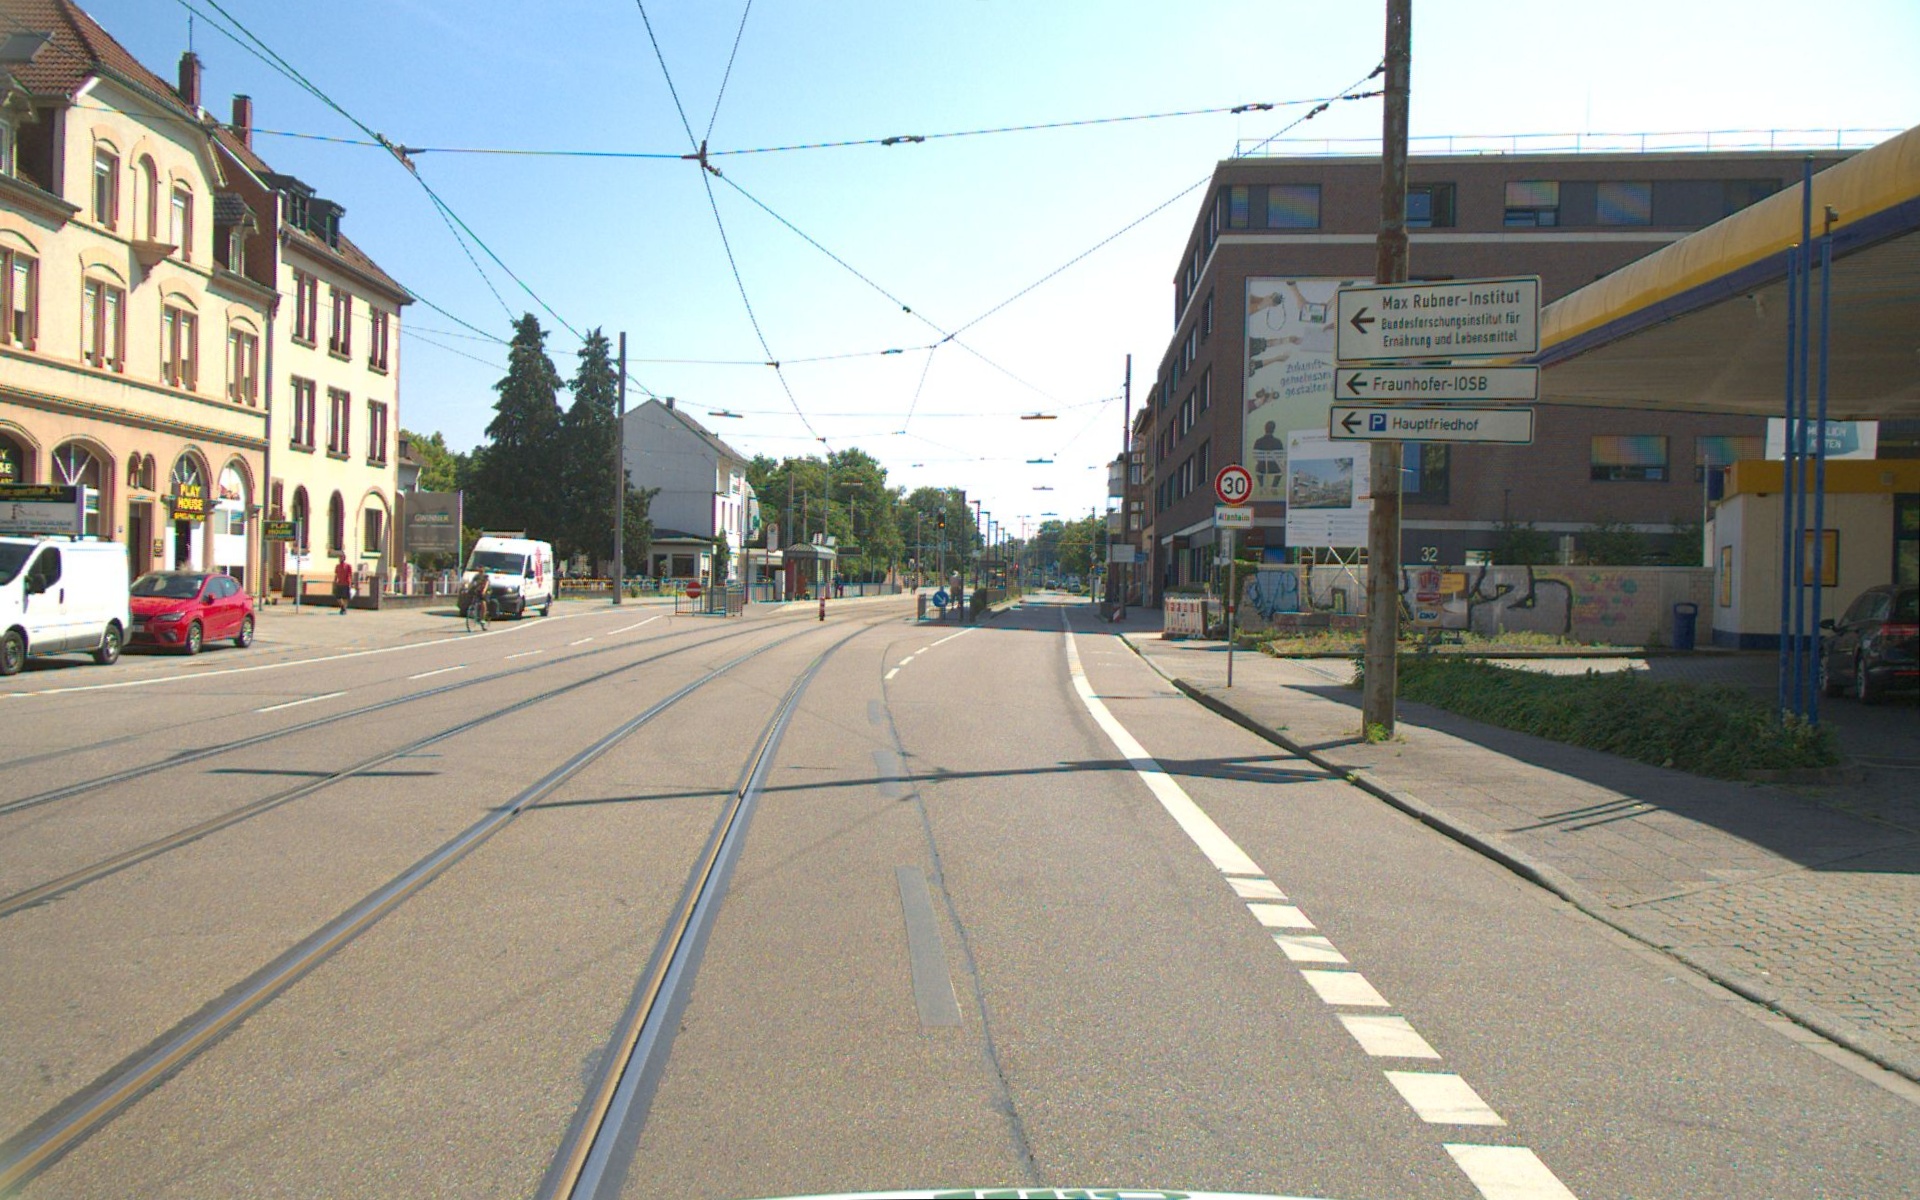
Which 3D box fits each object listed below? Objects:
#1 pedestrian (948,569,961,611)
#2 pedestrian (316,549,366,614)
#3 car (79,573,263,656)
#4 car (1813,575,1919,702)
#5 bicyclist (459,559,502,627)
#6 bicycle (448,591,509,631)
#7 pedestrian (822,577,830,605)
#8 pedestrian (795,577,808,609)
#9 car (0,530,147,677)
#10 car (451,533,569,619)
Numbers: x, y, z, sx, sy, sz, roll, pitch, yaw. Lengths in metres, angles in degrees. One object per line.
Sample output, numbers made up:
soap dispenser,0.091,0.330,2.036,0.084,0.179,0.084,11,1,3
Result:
pedestrian,-0.237,-0.427,71.280,0.545,1.790,0.793,0,0,-2
pedestrian,-17.931,-0.540,47.935,0.922,1.847,1.131,1,0,6
car,-14.646,0.225,30.924,1.686,1.431,3.999,1,1,-3
car,12.276,0.430,21.260,1.719,1.480,4.411,1,1,19
bicyclist,-12.465,-0.186,42.996,0.701,1.754,0.989,1,0,11
bicycle,-12.509,0.278,43.006,0.595,1.001,2.166,1,1,11
pedestrian,-8.080,-0.544,99.614,0.407,1.719,0.706,1,0,-10
pedestrian,-8.506,-0.361,88.685,0.691,1.719,0.416,1,0,-4
car,-14.394,0.004,24.827,2.042,2.049,4.906,2,0,-2
car,-14.913,-0.776,55.217,2.283,2.579,6.503,3,0,-2
